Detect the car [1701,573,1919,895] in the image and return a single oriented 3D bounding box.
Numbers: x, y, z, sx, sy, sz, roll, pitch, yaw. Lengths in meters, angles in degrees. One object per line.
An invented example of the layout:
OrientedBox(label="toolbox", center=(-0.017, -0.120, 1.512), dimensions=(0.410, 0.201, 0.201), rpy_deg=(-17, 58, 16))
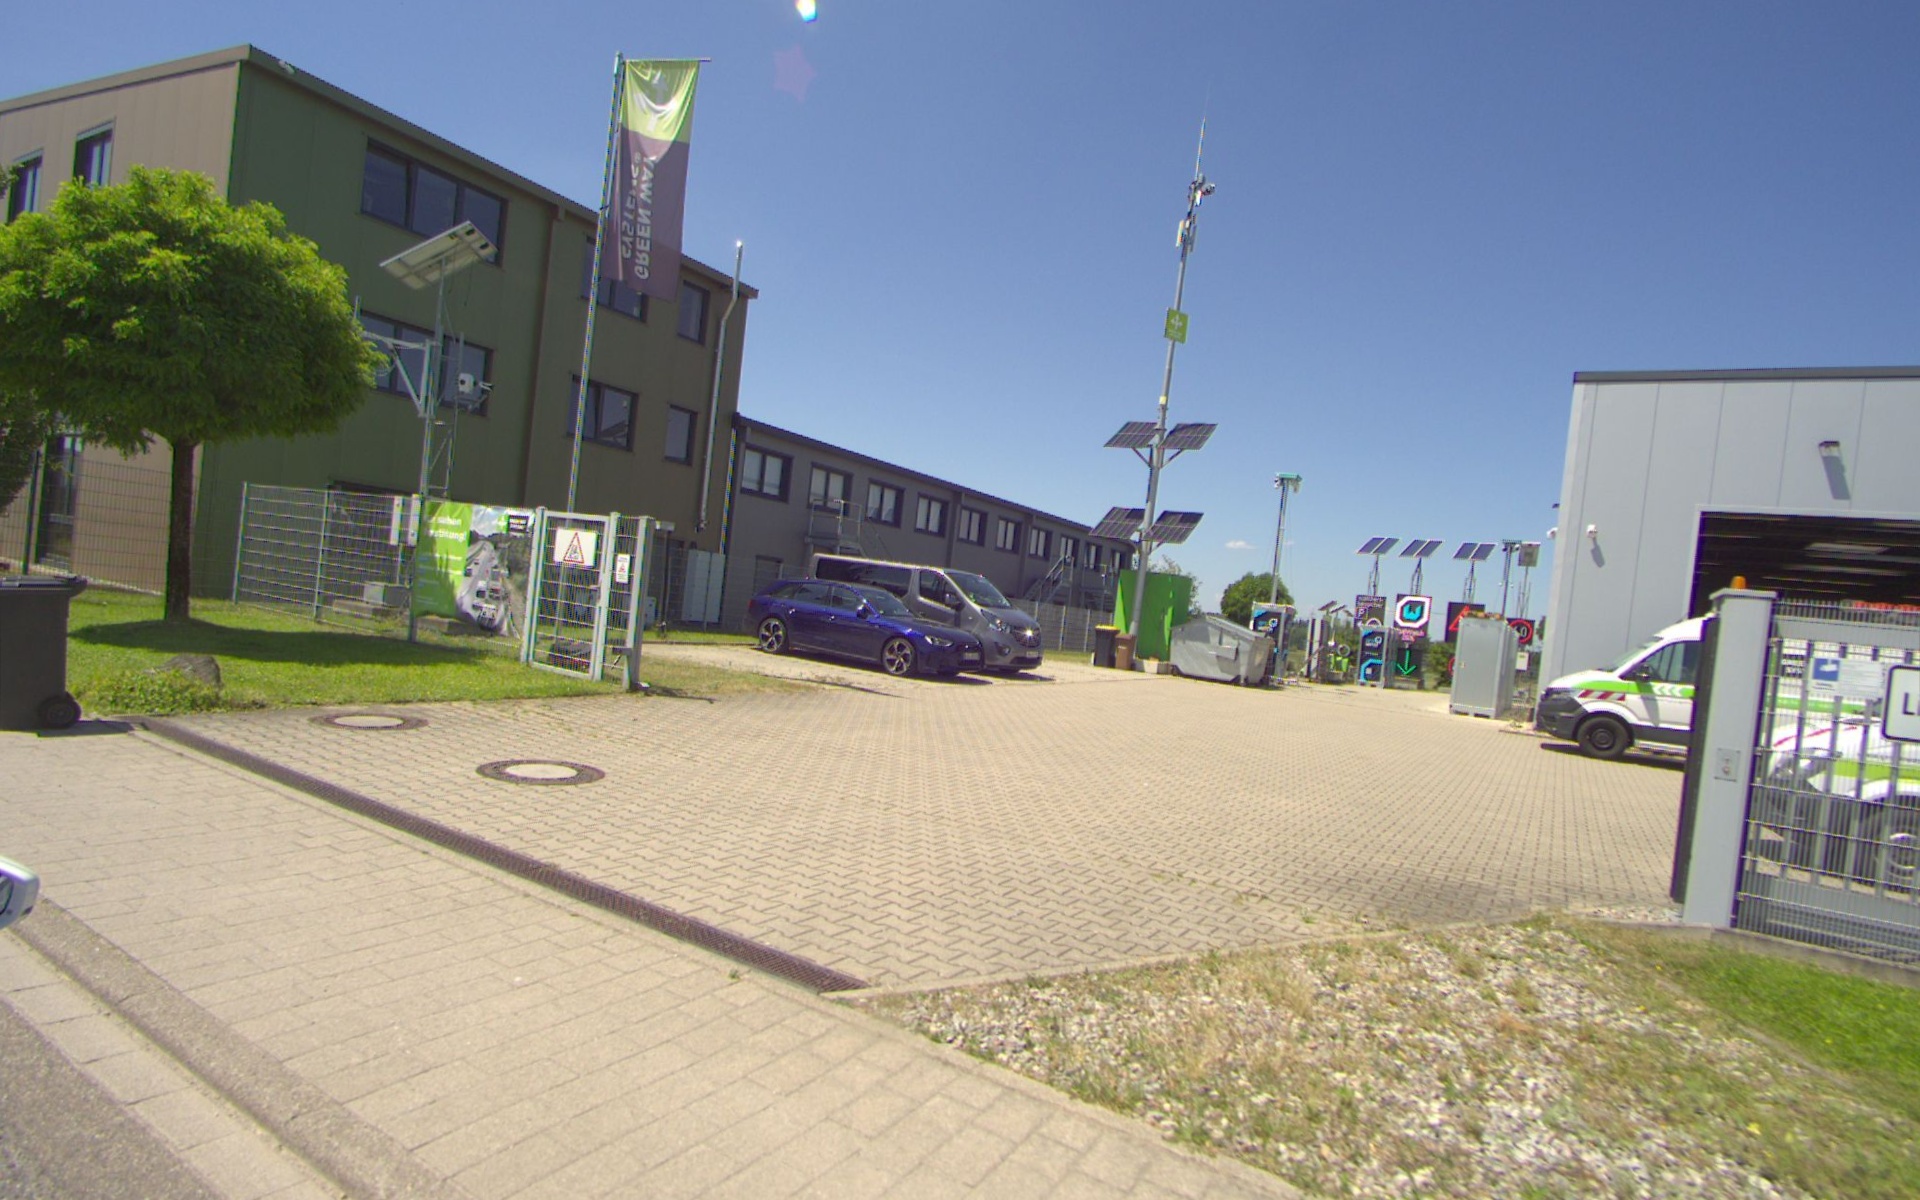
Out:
OrientedBox(label="car", center=(10.344, 1.386, 7.887), dimensions=(6.909, 2.527, 2.130), rpy_deg=(6, 2, 32))

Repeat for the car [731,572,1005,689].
OrientedBox(label="car", center=(-1.712, 0.520, 18.143), dimensions=(4.535, 1.456, 1.996), rpy_deg=(7, 0, 32))

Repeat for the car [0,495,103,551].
OrientedBox(label="car", center=(-30.080, -2.560, 33.118), dimensions=(3.934, 1.462, 1.657), rpy_deg=(6, 0, 31))

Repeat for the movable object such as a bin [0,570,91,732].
OrientedBox(label="movable object such as a bin", center=(-5.812, 0.303, 6.255), dimensions=(0.514, 0.941, 0.550), rpy_deg=(7, 4, 41))

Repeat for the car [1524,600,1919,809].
OrientedBox(label="car", center=(12.633, 1.565, 16.347), dimensions=(5.763, 2.527, 2.130), rpy_deg=(6, 2, 32))

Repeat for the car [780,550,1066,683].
OrientedBox(label="car", center=(-0.851, 0.294, 20.756), dimensions=(5.561, 2.021, 1.995), rpy_deg=(7, 1, 32))
